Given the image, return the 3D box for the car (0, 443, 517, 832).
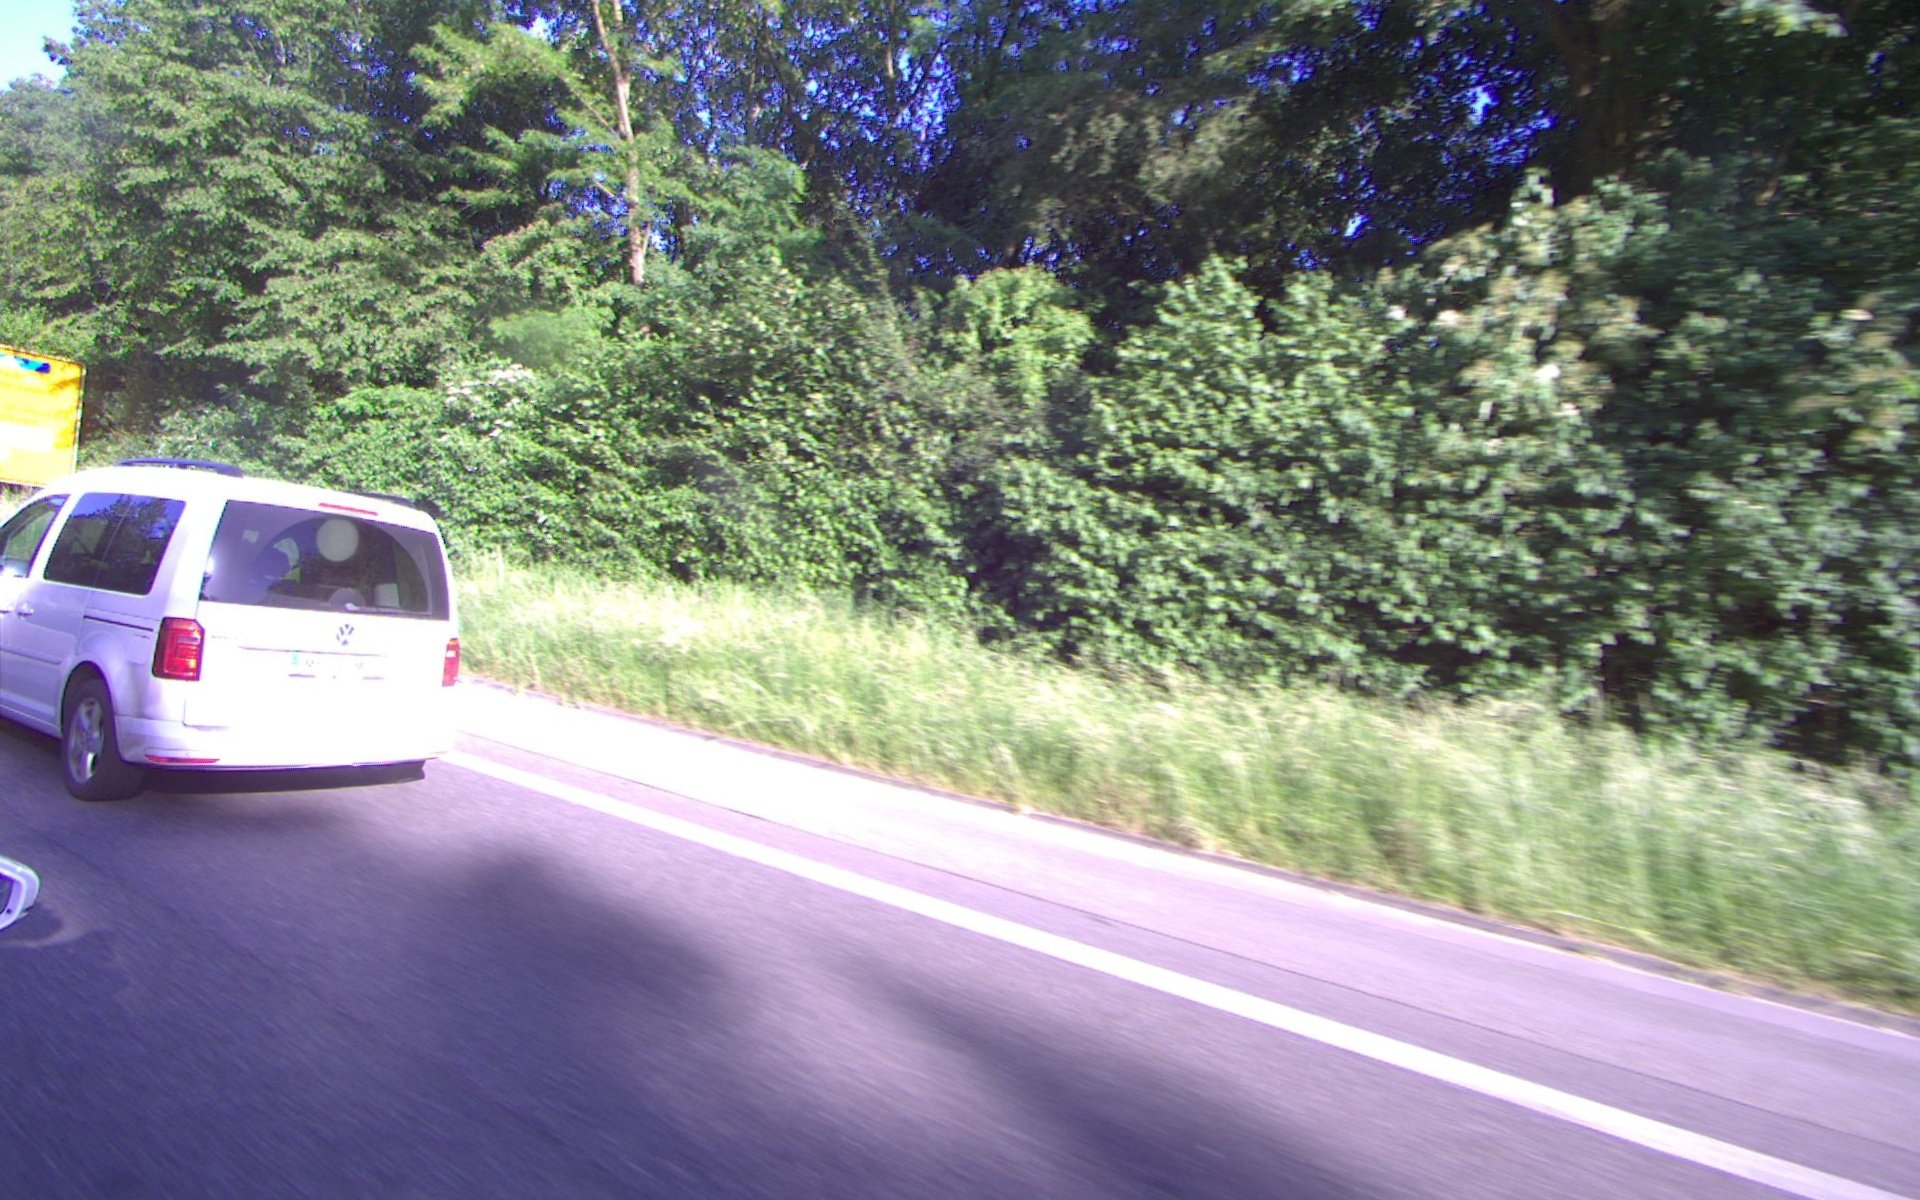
[{"bbox_3d":[-5.256,0.073,6.703,4.511,1.834,1.802,6,-2,31],"label":"car"}]
